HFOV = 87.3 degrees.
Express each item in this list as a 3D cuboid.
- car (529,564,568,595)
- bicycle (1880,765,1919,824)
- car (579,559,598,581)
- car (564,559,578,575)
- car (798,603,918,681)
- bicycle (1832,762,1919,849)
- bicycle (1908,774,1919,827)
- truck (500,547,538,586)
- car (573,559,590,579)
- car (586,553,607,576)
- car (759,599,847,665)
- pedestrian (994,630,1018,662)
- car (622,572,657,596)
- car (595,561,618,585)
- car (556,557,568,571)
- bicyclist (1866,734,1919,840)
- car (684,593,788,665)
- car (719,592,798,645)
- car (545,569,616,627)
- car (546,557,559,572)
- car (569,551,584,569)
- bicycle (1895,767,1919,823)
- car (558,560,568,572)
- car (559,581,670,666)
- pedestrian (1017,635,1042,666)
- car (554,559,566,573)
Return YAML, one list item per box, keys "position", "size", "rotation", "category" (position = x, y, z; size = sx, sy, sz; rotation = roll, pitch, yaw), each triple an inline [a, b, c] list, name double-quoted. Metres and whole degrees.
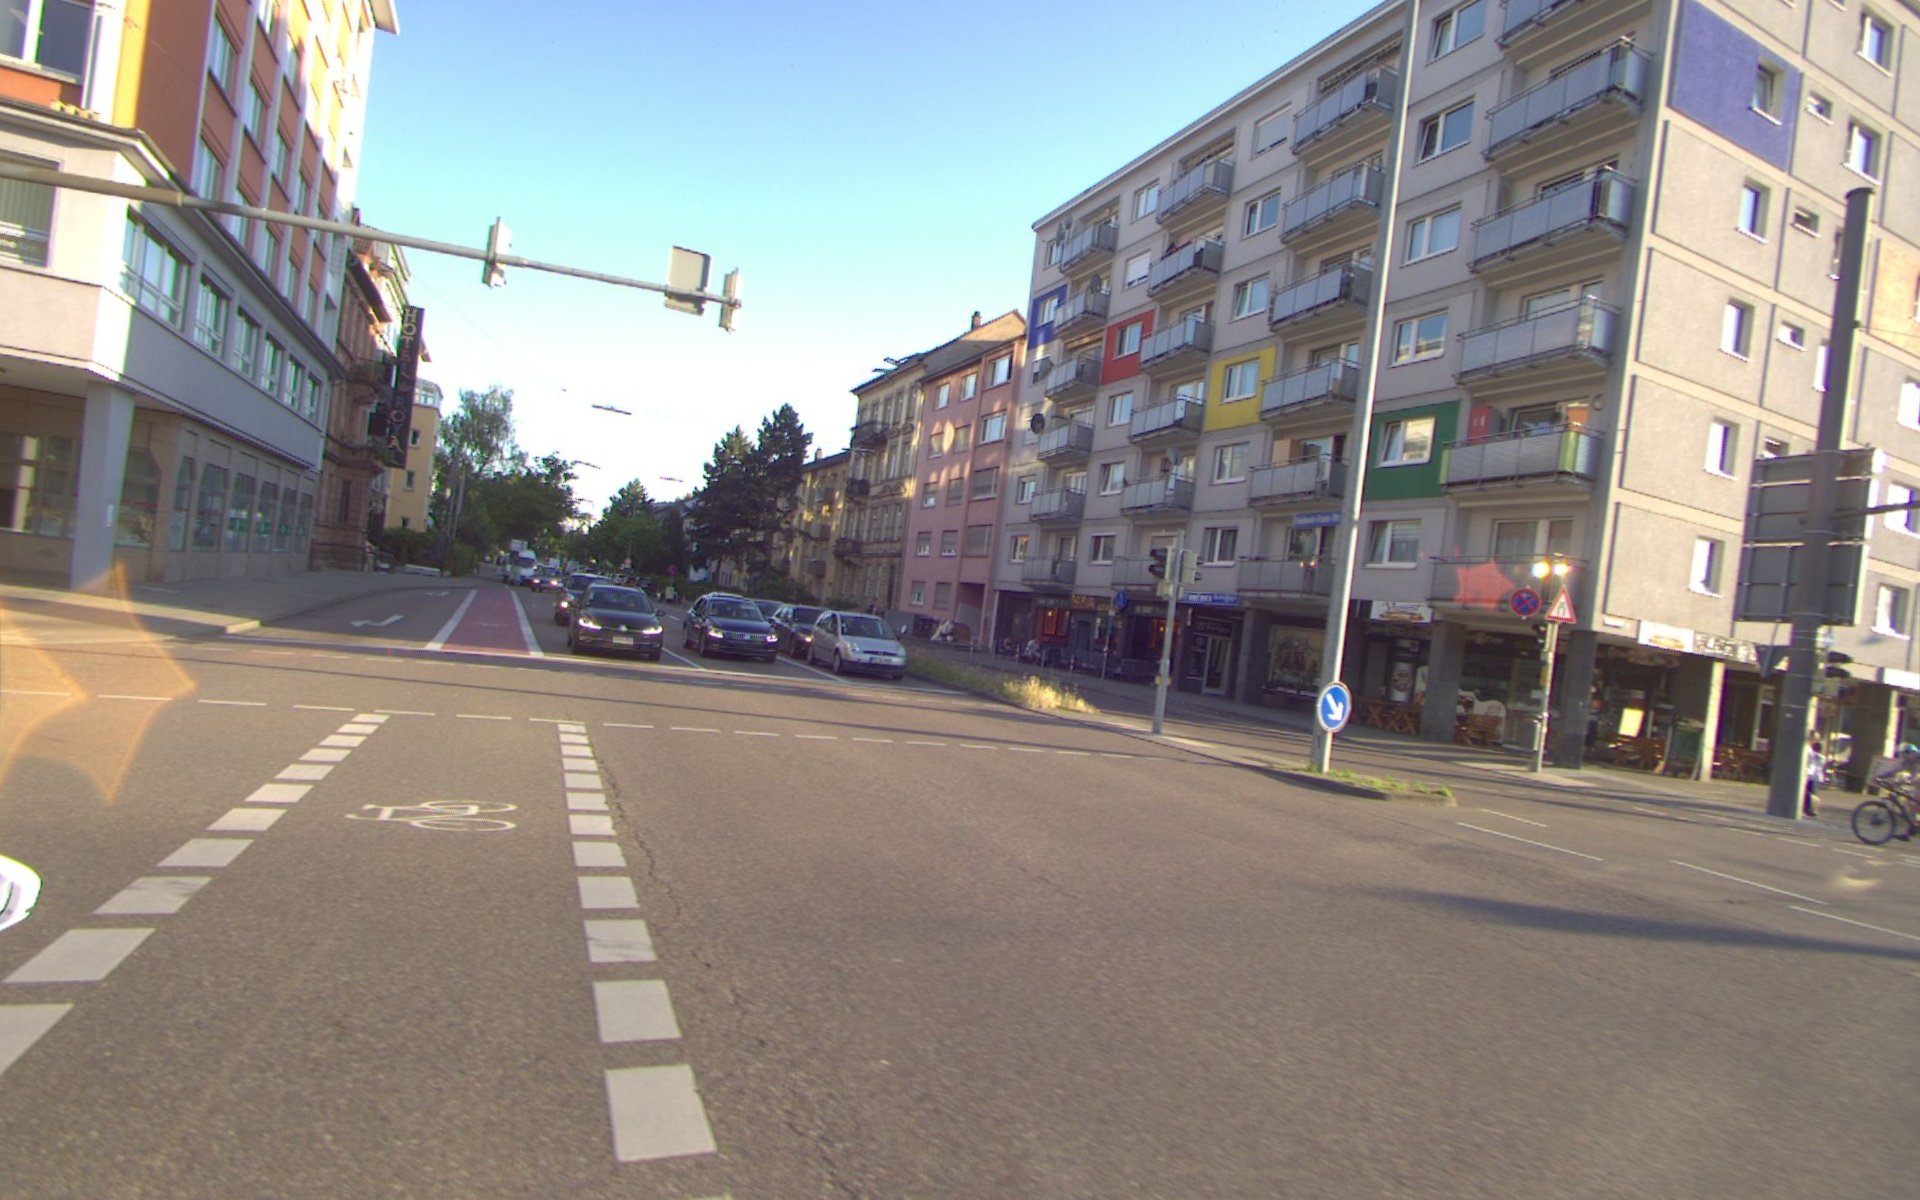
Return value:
- position: [-24.645, -1.188, 60.361]
  size: [1.716, 1.594, 4.095]
  rotation: [8, -2, -19]
  category: "car"
- position: [20.490, 4.171, 20.890]
  size: [0.452, 1.133, 1.949]
  rotation: [7, -2, -22]
  category: "bicycle"
- position: [-49.173, -3.942, 133.238]
  size: [1.974, 2.549, 3.981]
  rotation: [8, -2, -22]
  category: "car"
- position: [-69.879, -5.868, 180.682]
  size: [1.974, 2.549, 3.981]
  rotation: [8, -2, -22]
  category: "car"
- position: [-2.580, 0.967, 24.487]
  size: [1.892, 1.485, 3.997]
  rotation: [8, -2, -19]
  category: "car"
- position: [15.344, 3.374, 16.275]
  size: [1.935, 1.196, 0.490]
  rotation: [7, -1, -1]
  category: "bicycle"
- position: [21.459, 4.421, 21.292]
  size: [0.452, 1.133, 1.949]
  rotation: [7, -2, -22]
  category: "bicycle"
- position: [-30.473, -2.280, 69.625]
  size: [1.972, 2.372, 3.982]
  rotation: [7, -1, -20]
  category: "truck"
- position: [-54.195, -4.411, 143.961]
  size: [1.974, 2.549, 3.981]
  rotation: [8, -2, -22]
  category: "car"
- position: [-45.384, -4.394, 125.501]
  size: [1.974, 2.549, 3.981]
  rotation: [8, -2, -22]
  category: "car"
- position: [-4.599, 0.864, 28.929]
  size: [1.635, 1.539, 4.166]
  rotation: [8, -2, -19]
  category: "car"
- position: [2.097, 2.097, 45.832]
  size: [0.888, 1.312, 1.048]
  rotation: [7, -1, 1]
  category: "pedestrian"
- position: [-28.309, -1.426, 88.784]
  size: [1.979, 1.806, 3.970]
  rotation: [8, -2, -30]
  category: "car"
- position: [-40.776, -3.093, 116.035]
  size: [1.974, 2.549, 3.981]
  rotation: [8, -2, -22]
  category: "car"
- position: [-83.804, -7.573, 211.591]
  size: [1.974, 2.549, 3.981]
  rotation: [8, -2, -22]
  category: "car"
- position: [15.462, 3.040, 16.272]
  size: [0.720, 1.586, 0.823]
  rotation: [7, -1, 2]
  category: "bicyclist"
- position: [-5.718, 0.670, 25.340]
  size: [1.971, 1.486, 4.227]
  rotation: [6, -2, -19]
  category: "car"
- position: [-7.240, 0.610, 35.768]
  size: [1.684, 1.513, 4.514]
  rotation: [8, -2, -24]
  category: "car"
- position: [-11.765, -0.065, 31.381]
  size: [1.778, 1.468, 3.910]
  rotation: [8, -2, -19]
  category: "car"
- position: [-77.590, -6.712, 191.374]
  size: [1.974, 2.549, 3.981]
  rotation: [8, -2, -22]
  category: "car"
- position: [-63.733, -6.653, 167.199]
  size: [1.974, 2.549, 3.981]
  rotation: [8, -2, -22]
  category: "car"
- position: [20.995, 4.239, 21.085]
  size: [0.452, 1.133, 1.949]
  rotation: [7, -2, -22]
  category: "bicycle"
- position: [-95.790, -8.262, 242.533]
  size: [1.974, 2.549, 3.981]
  rotation: [8, -2, -22]
  category: "car"
- position: [-7.406, 0.439, 21.643]
  size: [1.904, 1.442, 4.174]
  rotation: [7, -1, -19]
  category: "car"
- position: [2.976, 2.170, 43.330]
  size: [0.888, 1.180, 1.048]
  rotation: [7, -1, 1]
  category: "pedestrian"
- position: [-81.310, -6.906, 204.537]
  size: [1.974, 2.549, 3.981]
  rotation: [8, -2, -22]
  category: "car"
